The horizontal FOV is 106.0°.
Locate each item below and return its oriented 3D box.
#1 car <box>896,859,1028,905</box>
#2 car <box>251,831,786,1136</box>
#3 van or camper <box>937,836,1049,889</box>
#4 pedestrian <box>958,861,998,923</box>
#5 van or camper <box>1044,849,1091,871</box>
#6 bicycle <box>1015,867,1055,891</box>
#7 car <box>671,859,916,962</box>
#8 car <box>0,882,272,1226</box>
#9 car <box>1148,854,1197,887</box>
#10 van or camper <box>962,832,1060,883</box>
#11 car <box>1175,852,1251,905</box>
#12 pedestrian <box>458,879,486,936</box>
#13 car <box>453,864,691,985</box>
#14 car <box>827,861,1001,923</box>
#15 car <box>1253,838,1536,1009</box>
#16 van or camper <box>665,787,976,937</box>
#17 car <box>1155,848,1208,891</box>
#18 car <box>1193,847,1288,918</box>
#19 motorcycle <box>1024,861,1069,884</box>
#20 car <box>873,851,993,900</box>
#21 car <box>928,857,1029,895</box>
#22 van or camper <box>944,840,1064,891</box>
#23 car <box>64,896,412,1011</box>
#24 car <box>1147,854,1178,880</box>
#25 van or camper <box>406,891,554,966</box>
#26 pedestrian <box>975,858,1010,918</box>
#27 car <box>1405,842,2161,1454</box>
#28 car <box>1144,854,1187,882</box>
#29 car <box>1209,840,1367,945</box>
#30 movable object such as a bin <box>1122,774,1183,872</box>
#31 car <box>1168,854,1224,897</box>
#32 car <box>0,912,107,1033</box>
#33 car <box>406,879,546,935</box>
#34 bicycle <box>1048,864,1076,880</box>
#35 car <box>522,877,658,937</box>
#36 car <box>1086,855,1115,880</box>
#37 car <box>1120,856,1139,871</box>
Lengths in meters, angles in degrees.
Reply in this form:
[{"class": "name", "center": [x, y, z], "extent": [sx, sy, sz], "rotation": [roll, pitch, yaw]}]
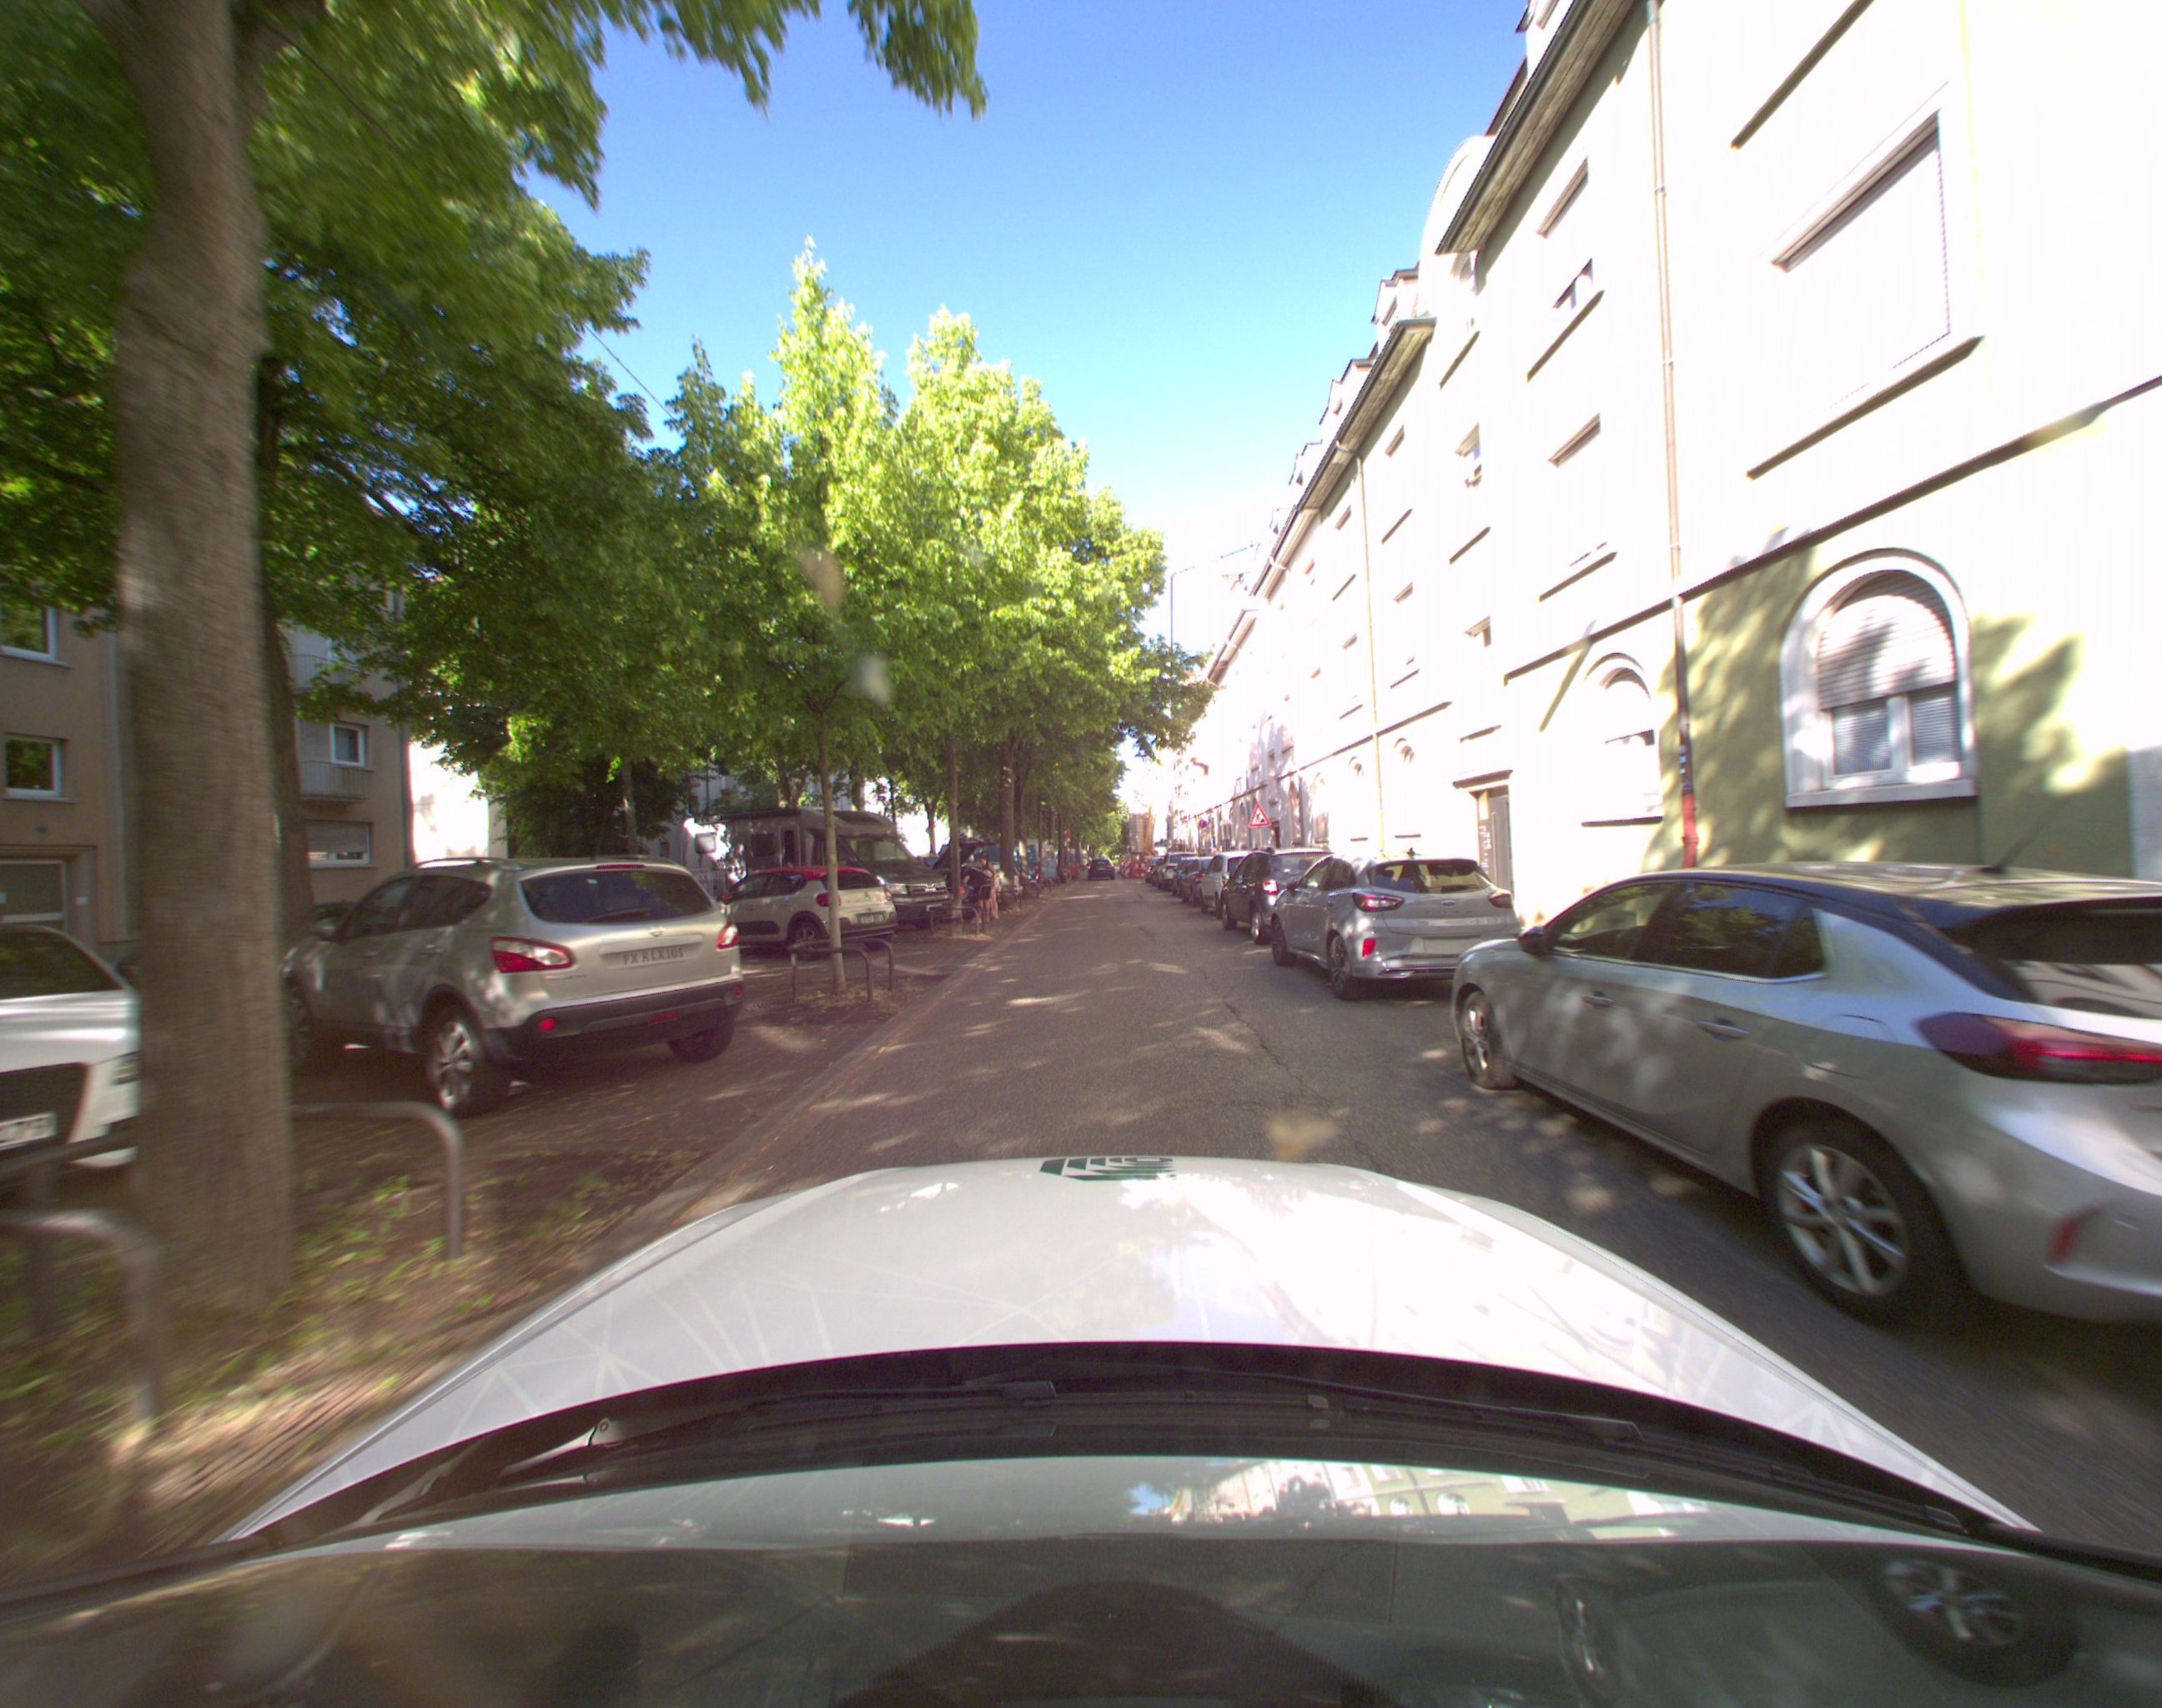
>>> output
[{"class": "car", "center": [-4.140, 0.977, 28.033], "extent": [4.431, 1.443, 1.744], "rotation": [-2, 0, 34]}, {"class": "car", "center": [-4.417, 0.766, 6.270], "extent": [4.094, 1.679, 1.770], "rotation": [-2, 0, 30]}, {"class": "van or camper", "center": [-4.887, 0.484, 44.916], "extent": [5.811, 2.637, 2.269], "rotation": [-3, 0, 31]}, {"class": "pedestrian", "center": [-2.502, 0.922, 19.831], "extent": [0.703, 1.456, 0.600], "rotation": [-3, 0, 25]}, {"class": "van or camper", "center": [-1.706, 0.736, 99.661], "extent": [5.280, 2.474, 2.308], "rotation": [-3, 0, 34]}, {"class": "bicycle", "center": [-2.078, 1.125, 36.918], "extent": [1.729, 1.006, 0.507], "rotation": [-2, 0, -29]}, {"class": "car", "center": [-4.994, 0.936, 14.051], "extent": [3.948, 1.507, 1.768], "rotation": [-3, 0, 30]}, {"class": "car", "center": [-6.327, 0.906, 4.533], "extent": [3.990, 1.403, 1.835], "rotation": [-1, 0, 34]}, {"class": "car", "center": [4.516, 0.789, 40.781], "extent": [1.786, 1.523, 3.960], "rotation": [-2, 0, -3]}, {"class": "van or camper", "center": [-5.029, 0.264, 58.034], "extent": [6.592, 3.240, 2.511], "rotation": [-3, 0, 30]}, {"class": "car", "center": [3.913, 0.695, 24.746], "extent": [1.625, 1.413, 4.088], "rotation": [-2, 0, 0]}, {"class": "pedestrian", "center": [-20.262, 1.774, 27.084], "extent": [0.497, 1.826, 0.463], "rotation": [-3, 0, 1]}, {"class": "car", "center": [-7.715, 0.994, 12.278], "extent": [3.498, 1.507, 1.769], "rotation": [-3, 0, 35]}, {"class": "car", "center": [-4.372, 0.985, 21.173], "extent": [4.274, 1.424, 1.685], "rotation": [-2, 0, 28]}, {"class": "car", "center": [3.380, 0.653, 9.711], "extent": [1.717, 1.528, 4.157], "rotation": [-2, 0, 0]}, {"class": "van or camper", "center": [-6.076, 0.287, 18.576], "extent": [7.157, 2.929, 2.328], "rotation": [-3, 0, 28]}, {"class": "car", "center": [4.278, 0.638, 35.387], "extent": [1.810, 1.674, 4.675], "rotation": [-2, 0, 2]}, {"class": "car", "center": [3.839, 0.635, 20.154], "extent": [1.625, 1.534, 3.592], "rotation": [-2, 0, 0]}, {"class": "motorcycle", "center": [-2.047, 1.087, 48.792], "extent": [2.534, 1.258, 0.765], "rotation": [-2, -1, 9]}, {"class": "car", "center": [-5.870, 0.866, 32.119], "extent": [4.501, 1.764, 1.822], "rotation": [-2, 0, 32]}, {"class": "car", "center": [-4.427, 0.956, 35.145], "extent": [3.905, 1.443, 1.858], "rotation": [-2, 0, 29]}, {"class": "van or camper", "center": [-3.855, 0.584, 40.642], "extent": [5.447, 2.275, 2.233], "rotation": [-3, 0, 25]}, {"class": "car", "center": [-15.015, 1.675, 14.948], "extent": [1.757, 1.508, 4.311], "rotation": [-3, 0, 2]}, {"class": "car", "center": [5.002, 0.761, 50.296], "extent": [1.586, 1.531, 2.780], "rotation": [-2, 0, 1]}, {"class": "van or camper", "center": [-14.882, 1.791, 20.330], "extent": [1.590, 1.555, 2.698], "rotation": [-3, 0, 2]}, {"class": "pedestrian", "center": [-2.215, 0.849, 20.386], "extent": [0.609, 1.456, 0.522], "rotation": [-3, -1, 25]}, {"class": "car", "center": [3.268, 0.704, 4.046], "extent": [1.716, 1.432, 4.159], "rotation": [-2, 0, 1]}, {"class": "car", "center": [4.645, 0.754, 45.353], "extent": [1.987, 1.409, 4.501], "rotation": [-2, 0, 1]}, {"class": "car", "center": [3.603, 0.612, 14.961], "extent": [1.718, 1.596, 4.155], "rotation": [-2, 0, -1]}, {"class": "movable object such as a bin", "center": [5.180, -2.155, 58.736], "extent": [3.444, 6.759, 2.383], "rotation": [-2, -1, 34]}, {"class": "car", "center": [4.155, 0.743, 29.893], "extent": [1.611, 1.413, 3.789], "rotation": [-2, 0, 2]}, {"class": "car", "center": [-15.169, 1.635, 9.513], "extent": [1.986, 1.508, 4.535], "rotation": [-3, 0, 2]}, {"class": "car", "center": [-19.184, 1.626, 26.012], "extent": [1.618, 1.482, 3.613], "rotation": [-3, 0, 2]}, {"class": "bicycle", "center": [-1.304, 1.215, 55.228], "extent": [1.879, 1.006, 0.433], "rotation": [-2, -1, 25]}, {"class": "car", "center": [-14.577, 1.519, 24.435], "extent": [1.657, 1.499, 3.771], "rotation": [-2, 0, 2]}, {"class": "car", "center": [1.313, 0.874, 54.718], "extent": [1.791, 1.503, 3.586], "rotation": [-3, 0, 1]}, {"class": "car", "center": [4.968, 0.956, 84.119], "extent": [1.791, 1.385, 3.586], "rotation": [-3, 0, 1]}]
